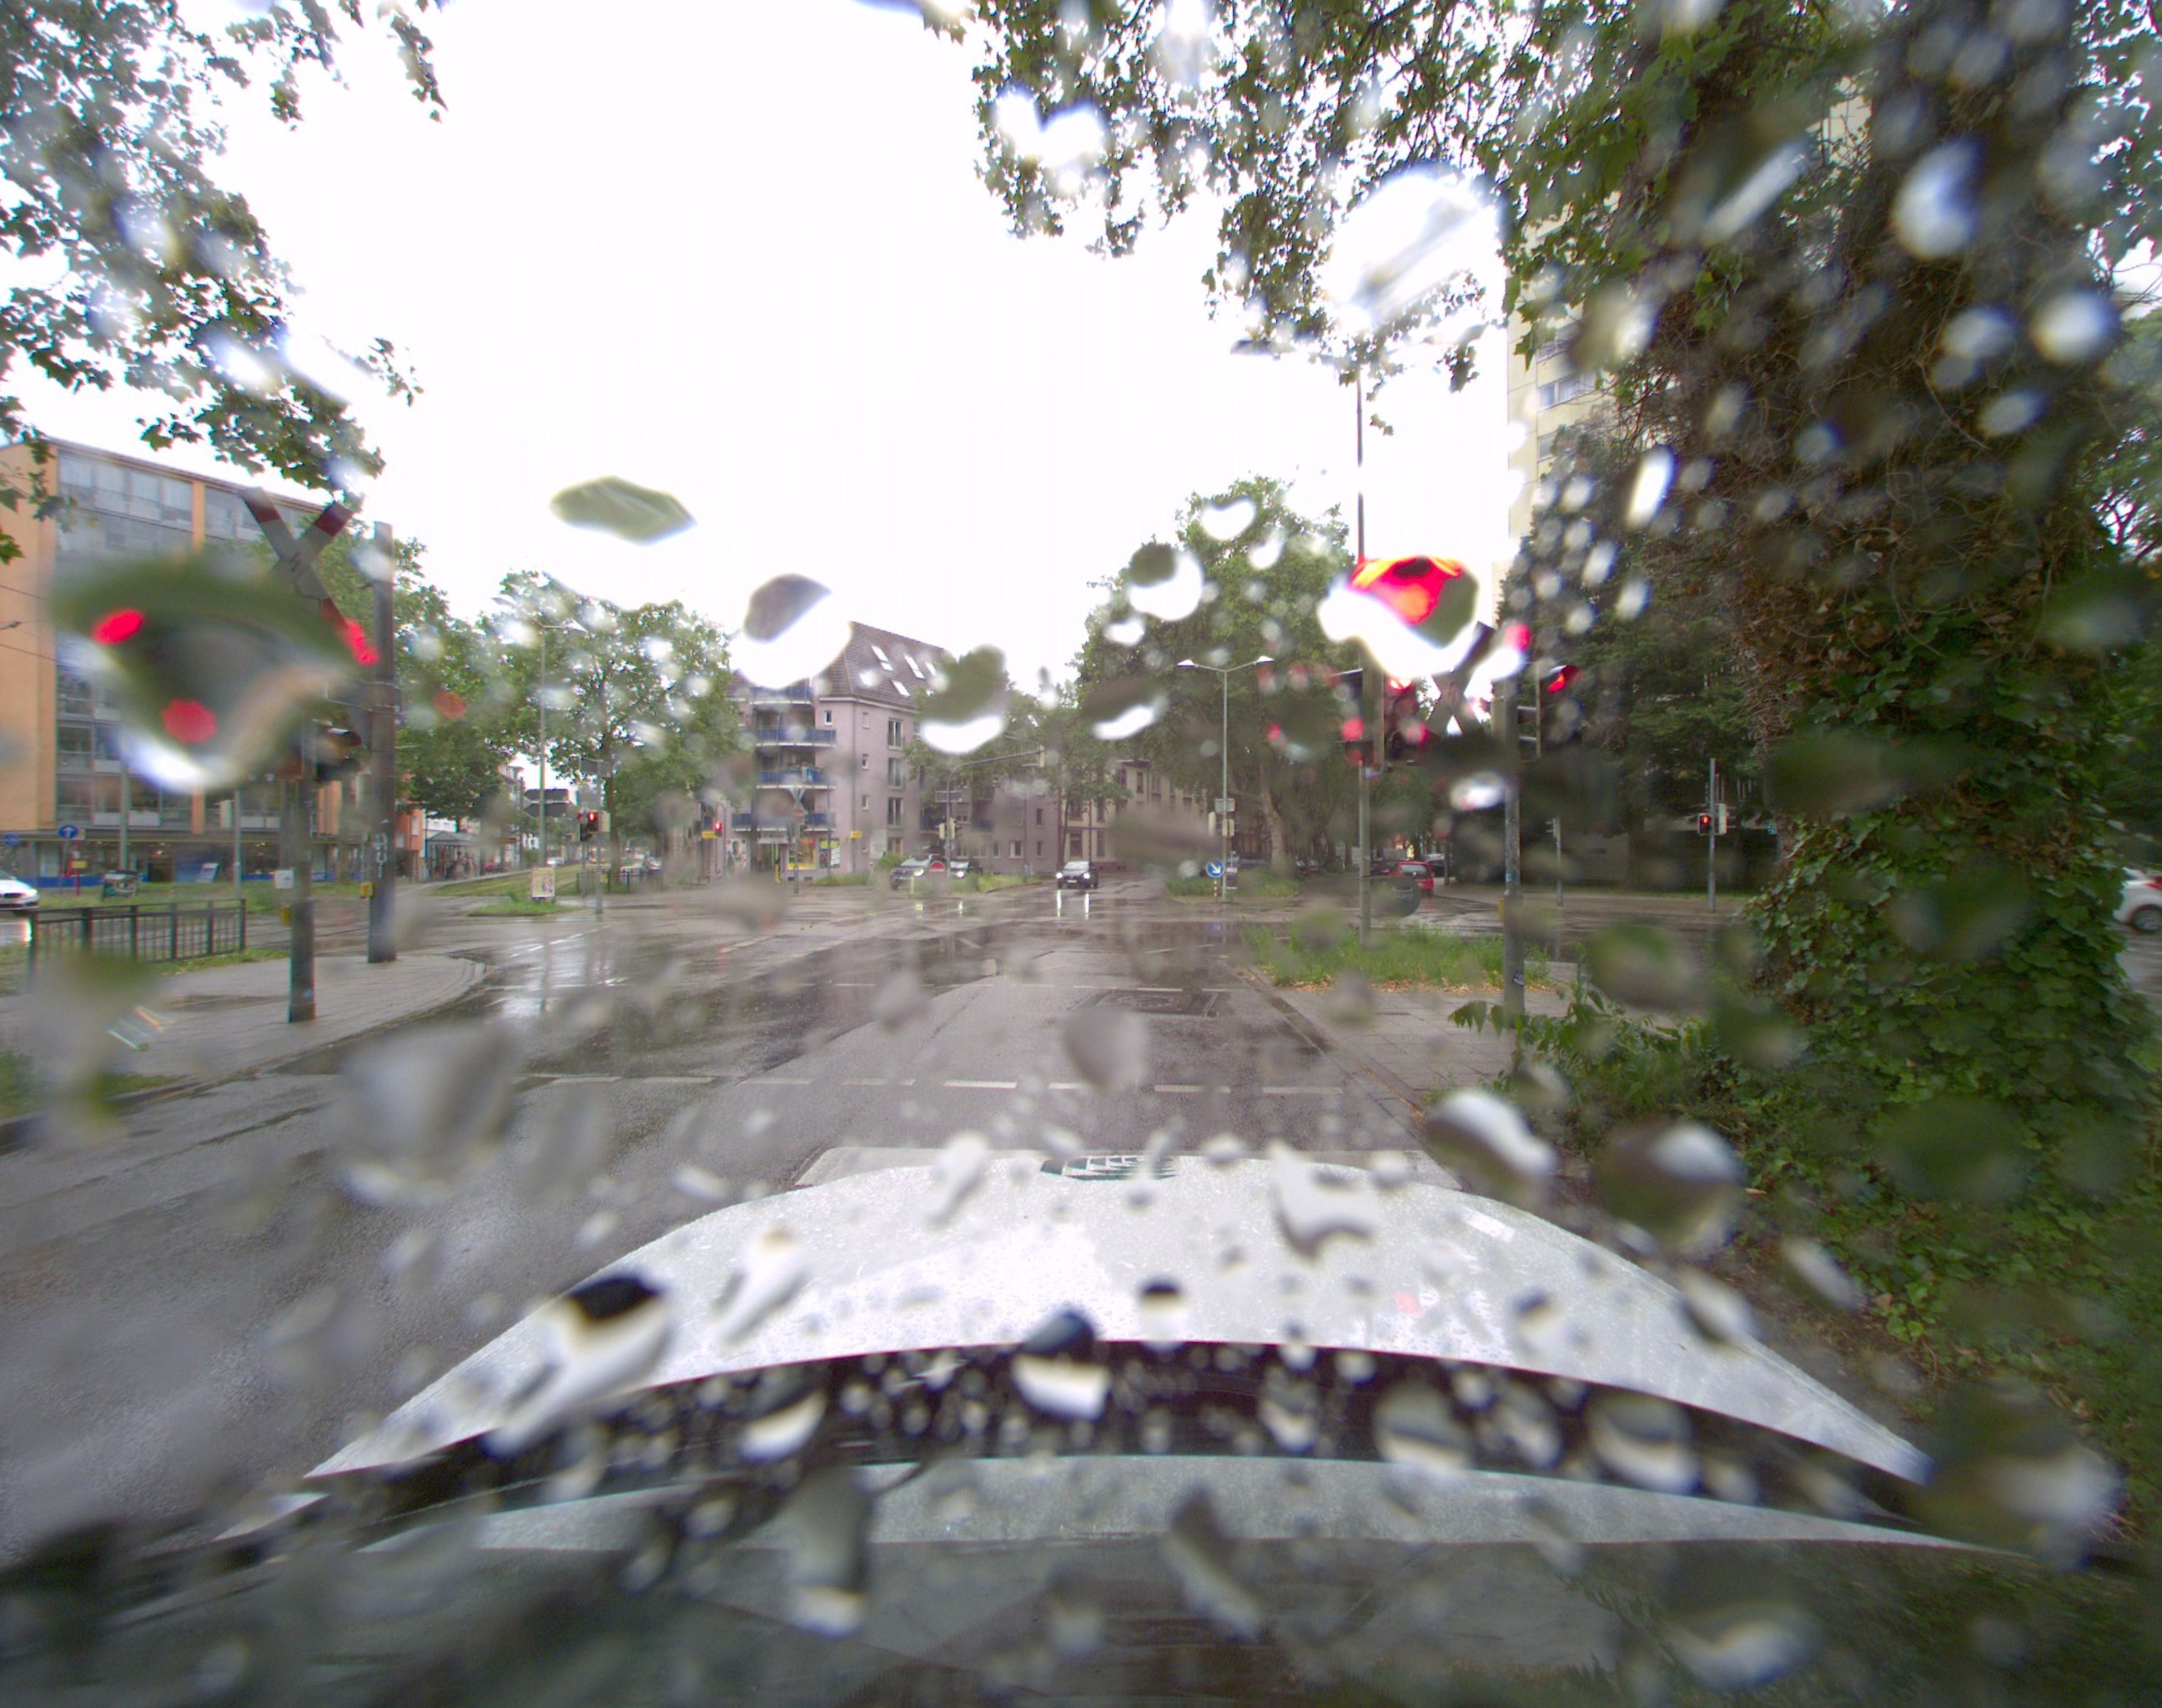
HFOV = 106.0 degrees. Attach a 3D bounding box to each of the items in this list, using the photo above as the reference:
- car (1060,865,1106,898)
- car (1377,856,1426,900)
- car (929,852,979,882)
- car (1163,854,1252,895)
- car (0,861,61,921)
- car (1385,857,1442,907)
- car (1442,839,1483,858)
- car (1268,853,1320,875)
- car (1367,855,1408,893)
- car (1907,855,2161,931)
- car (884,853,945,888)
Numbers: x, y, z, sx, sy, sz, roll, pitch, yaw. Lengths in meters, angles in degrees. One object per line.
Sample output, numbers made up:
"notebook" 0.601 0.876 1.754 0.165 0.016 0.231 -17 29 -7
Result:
"car" 0.150 1.420 42.646 1.591 1.552 3.572 -2 0 13
"car" 15.935 1.158 40.651 1.977 2.013 4.019 -2 0 18
"car" -6.994 0.703 45.207 1.715 1.552 3.567 -2 0 8
"car" 5.136 0.807 33.000 3.457 1.523 1.524 -2 0 10
"car" -32.161 1.115 23.413 3.978 1.651 1.980 -2 0 13
"car" 14.733 1.203 36.268 1.977 2.013 4.019 -2 0 18
"car" 42.618 -0.640 91.057 3.953 2.013 1.716 -2 0 21
"car" 17.006 0.779 65.048 3.571 1.618 1.692 -2 0 30
"car" 17.857 1.133 47.559 1.977 2.013 4.019 -2 0 18
"car" 20.895 0.835 17.781 3.613 1.486 1.732 -2 0 17
"car" -7.955 0.743 39.133 1.715 1.552 3.567 -2 0 8
